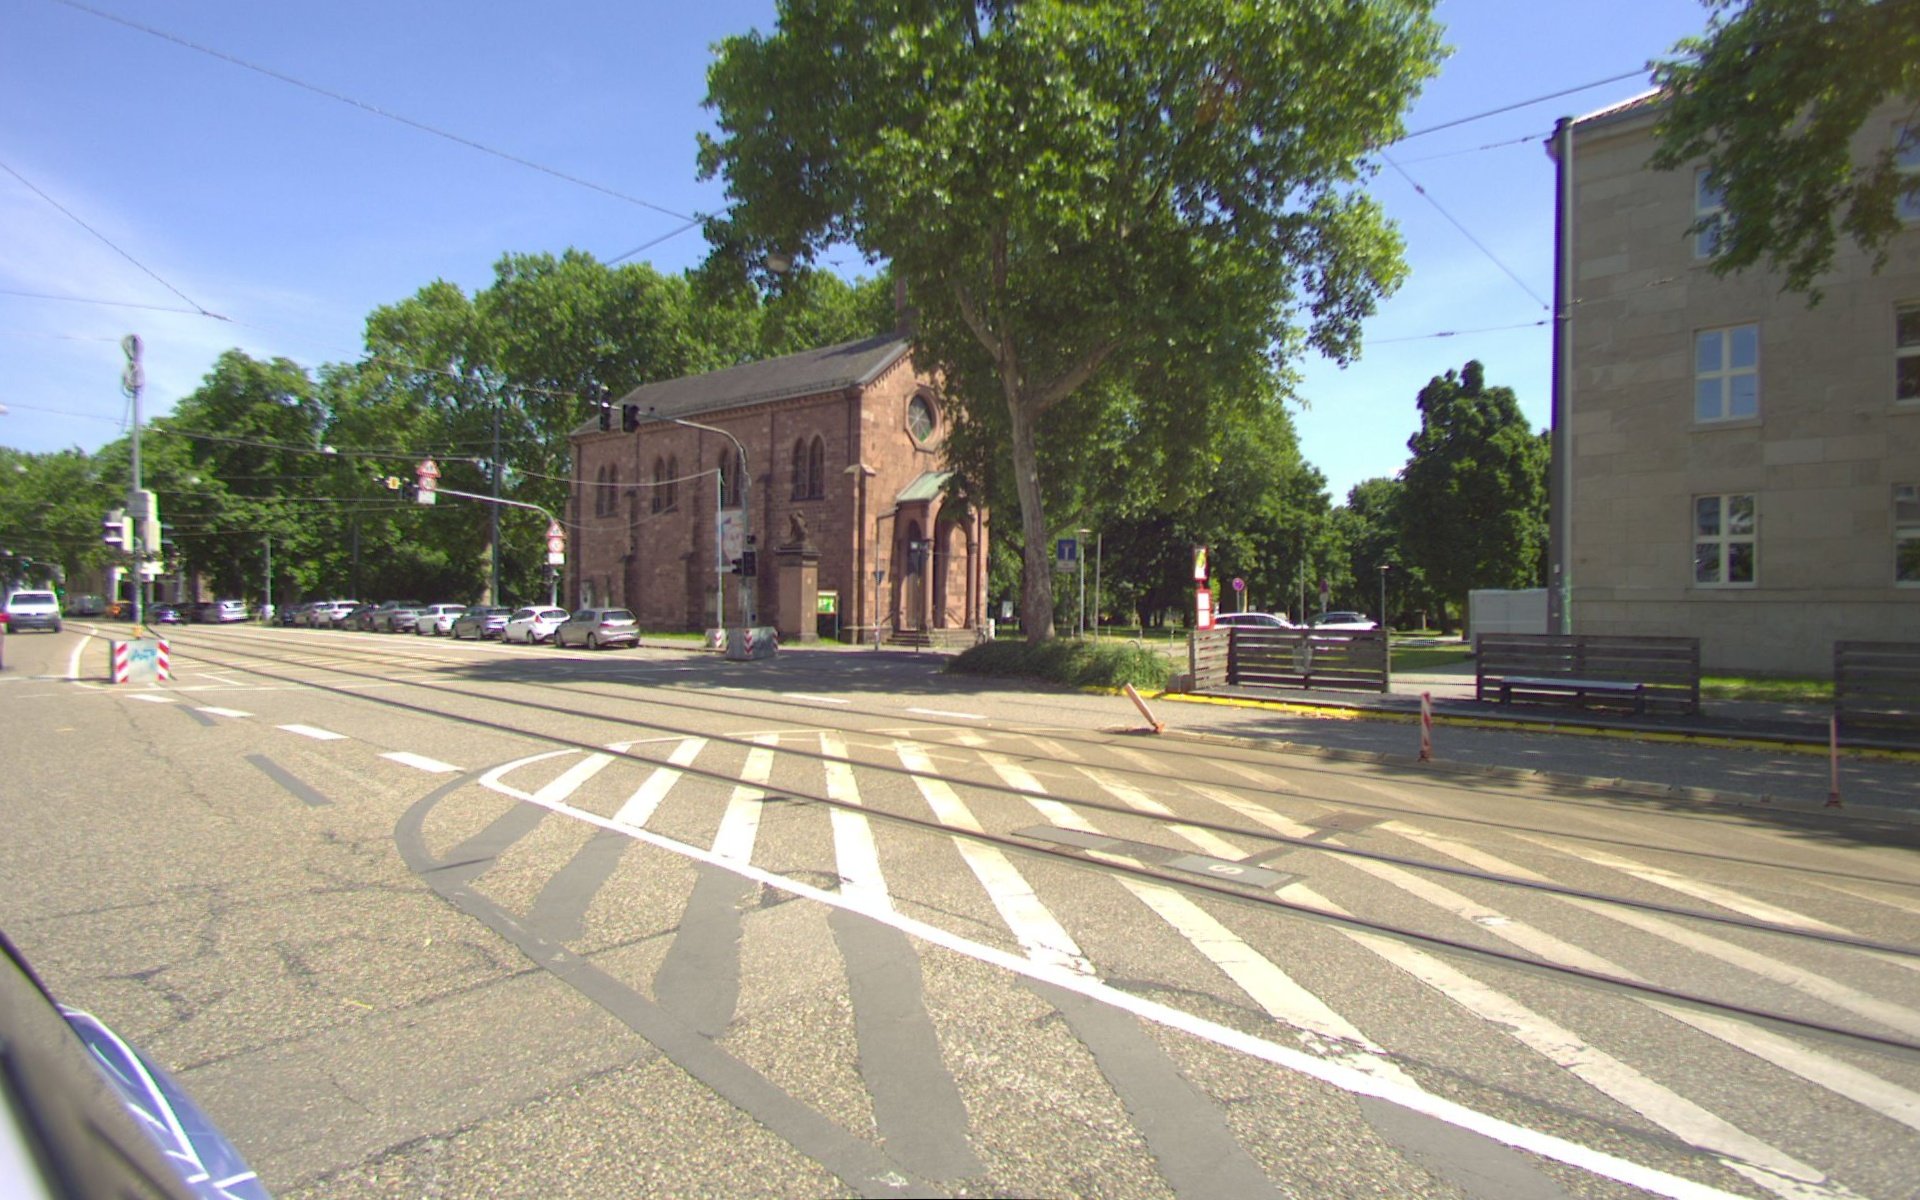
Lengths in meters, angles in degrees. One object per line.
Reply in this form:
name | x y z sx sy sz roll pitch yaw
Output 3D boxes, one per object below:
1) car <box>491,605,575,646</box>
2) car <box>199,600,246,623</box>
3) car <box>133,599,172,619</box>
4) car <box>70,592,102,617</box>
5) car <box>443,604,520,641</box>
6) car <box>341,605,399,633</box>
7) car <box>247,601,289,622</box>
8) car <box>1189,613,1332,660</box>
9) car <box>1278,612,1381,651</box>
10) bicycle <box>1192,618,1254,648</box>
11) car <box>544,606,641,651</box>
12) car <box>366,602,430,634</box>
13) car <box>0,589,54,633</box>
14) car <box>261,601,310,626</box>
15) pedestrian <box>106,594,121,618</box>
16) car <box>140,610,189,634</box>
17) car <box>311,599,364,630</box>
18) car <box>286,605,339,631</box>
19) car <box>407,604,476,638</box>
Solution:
car | -17.030 0.988 40.309 4.060 1.470 1.640 1 1 44
car | -53.332 0.792 73.172 3.998 1.574 1.952 0 1 41
car | -66.778 0.727 83.657 3.814 1.526 1.725 0 1 39
car | -82.369 0.388 95.395 3.761 2.314 1.797 0 1 42
car | -20.720 0.953 43.753 4.059 1.470 1.640 1 1 43
car | -31.990 0.982 54.863 4.000 1.386 1.649 1 1 43
car | -47.793 0.766 69.863 3.766 1.390 1.628 1 1 43
car | 10.222 1.217 34.751 4.484 1.520 1.910 0 1 9
car | 14.331 1.202 39.429 3.558 1.387 1.714 0 1 12
bicycle | 8.510 1.066 32.771 1.896 0.907 0.639 0 1 24
car | -13.434 1.009 36.891 4.222 1.470 1.640 1 1 44
car | -28.344 0.876 51.021 3.753 1.535 1.724 1 1 43
car | -43.380 0.469 46.800 2.134 1.952 4.860 -1 1 -43
car | -43.983 0.875 65.984 4.188 1.509 1.724 1 1 43
pedestrian | -74.224 0.511 88.714 0.939 2.029 0.761 -1 1 -44
car | -51.521 1.409 65.492 4.345 1.405 1.728 0 1 41
car | -35.836 0.802 58.201 3.908 1.665 1.723 1 1 45
car | -39.571 1.077 61.786 4.188 1.509 1.724 1 1 43
car | -24.449 0.940 47.644 3.753 1.470 1.724 1 1 43
